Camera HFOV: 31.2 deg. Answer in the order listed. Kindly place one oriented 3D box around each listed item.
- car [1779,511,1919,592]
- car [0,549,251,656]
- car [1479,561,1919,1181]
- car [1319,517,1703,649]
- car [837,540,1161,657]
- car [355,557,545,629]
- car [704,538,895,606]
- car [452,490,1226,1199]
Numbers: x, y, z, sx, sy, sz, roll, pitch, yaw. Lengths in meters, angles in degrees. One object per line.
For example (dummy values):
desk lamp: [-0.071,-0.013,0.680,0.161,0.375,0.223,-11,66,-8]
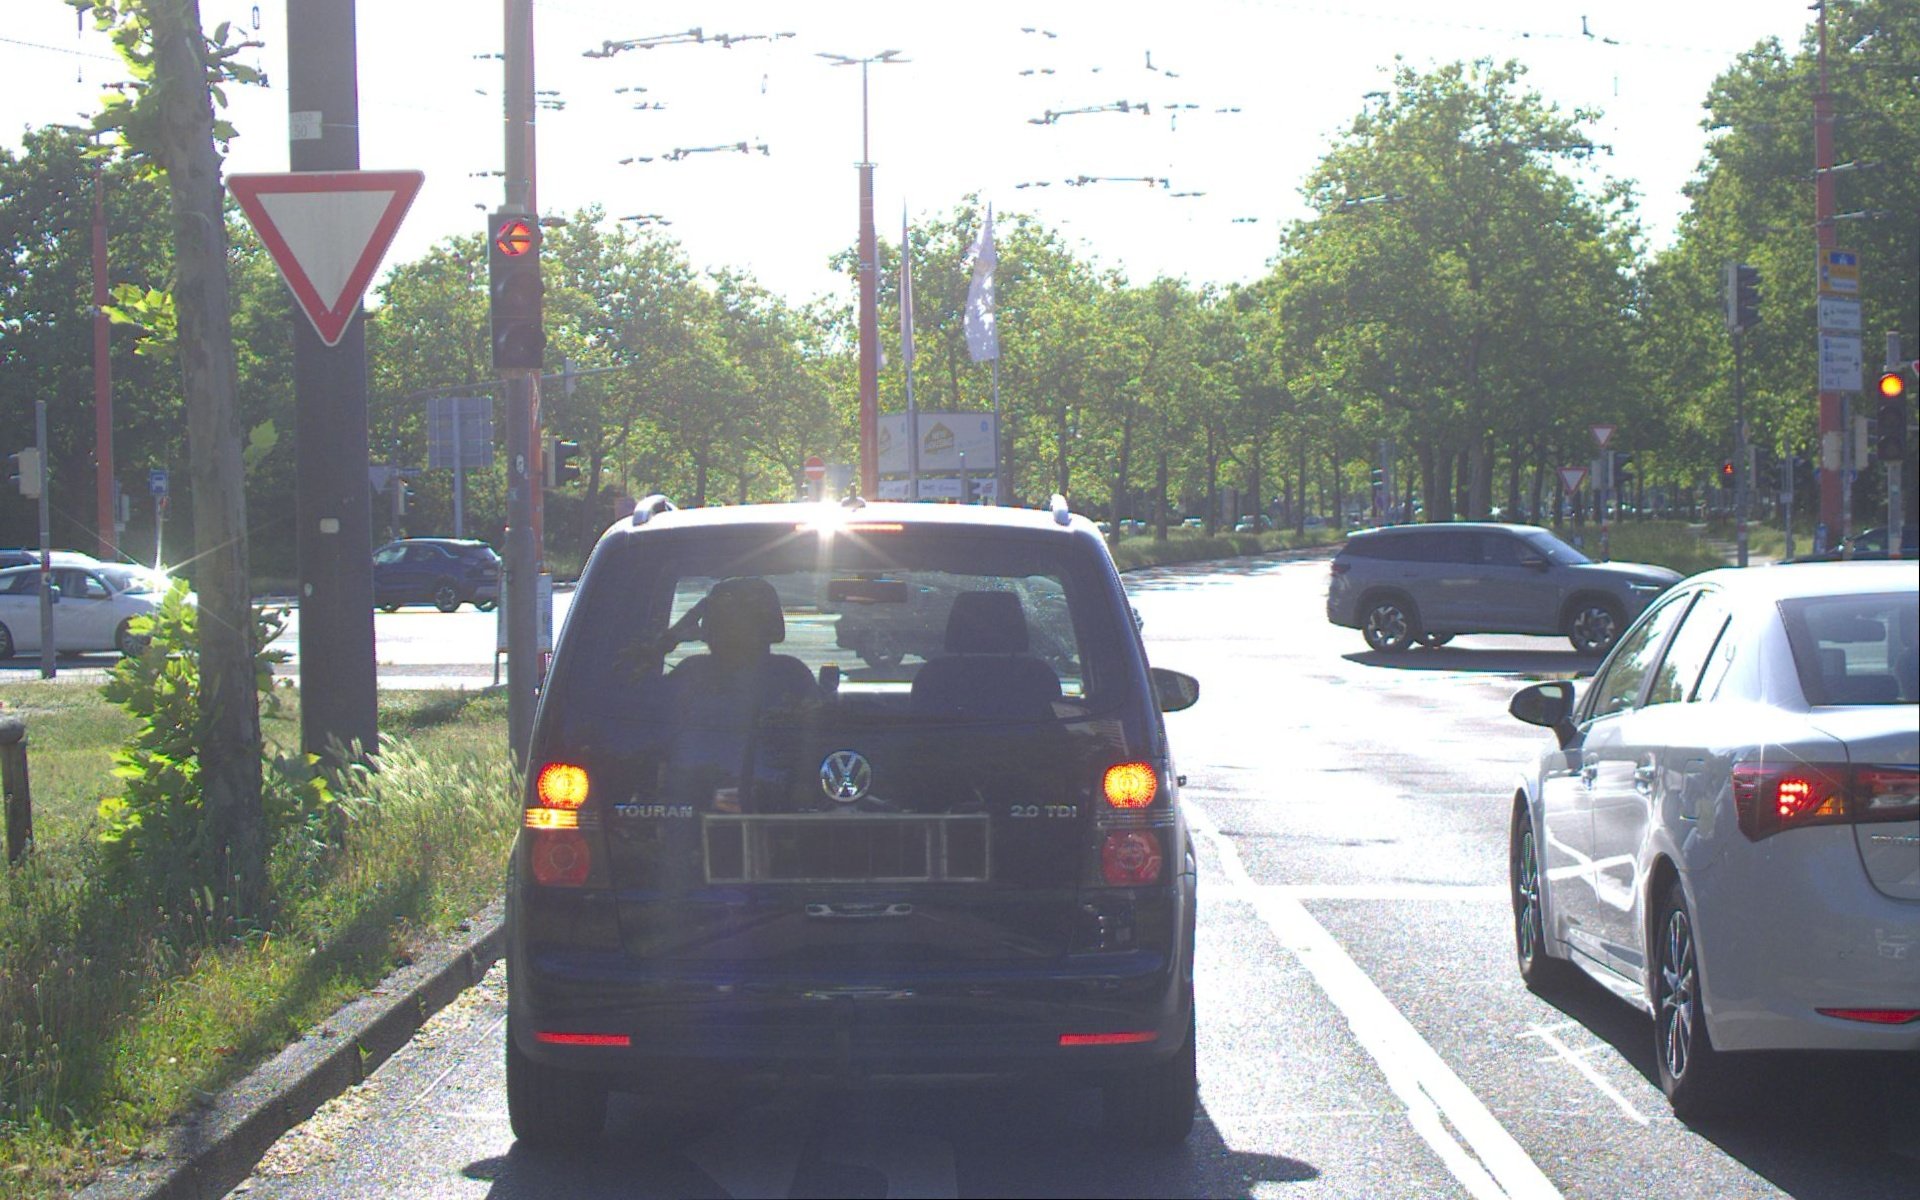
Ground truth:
car: [17.695,-0.924,64.736,4.141,1.505,1.654,1,1,28]
car: [-12.935,0.002,51.485,4.630,1.514,1.654,1,1,30]
car: [2.753,0.619,10.153,1.799,1.435,4.326,1,1,1]
car: [7.118,-0.248,44.583,4.636,1.641,1.654,1,1,30]
car: [0.493,-0.043,44.304,3.835,1.436,1.654,1,1,28]
car: [-11.119,-0.159,74.946,3.796,1.505,1.655,1,1,24]
car: [-3.551,-0.631,76.075,3.919,1.452,1.654,1,1,26]
car: [-0.258,0.538,9.974,1.738,1.597,4.326,1,1,1]
